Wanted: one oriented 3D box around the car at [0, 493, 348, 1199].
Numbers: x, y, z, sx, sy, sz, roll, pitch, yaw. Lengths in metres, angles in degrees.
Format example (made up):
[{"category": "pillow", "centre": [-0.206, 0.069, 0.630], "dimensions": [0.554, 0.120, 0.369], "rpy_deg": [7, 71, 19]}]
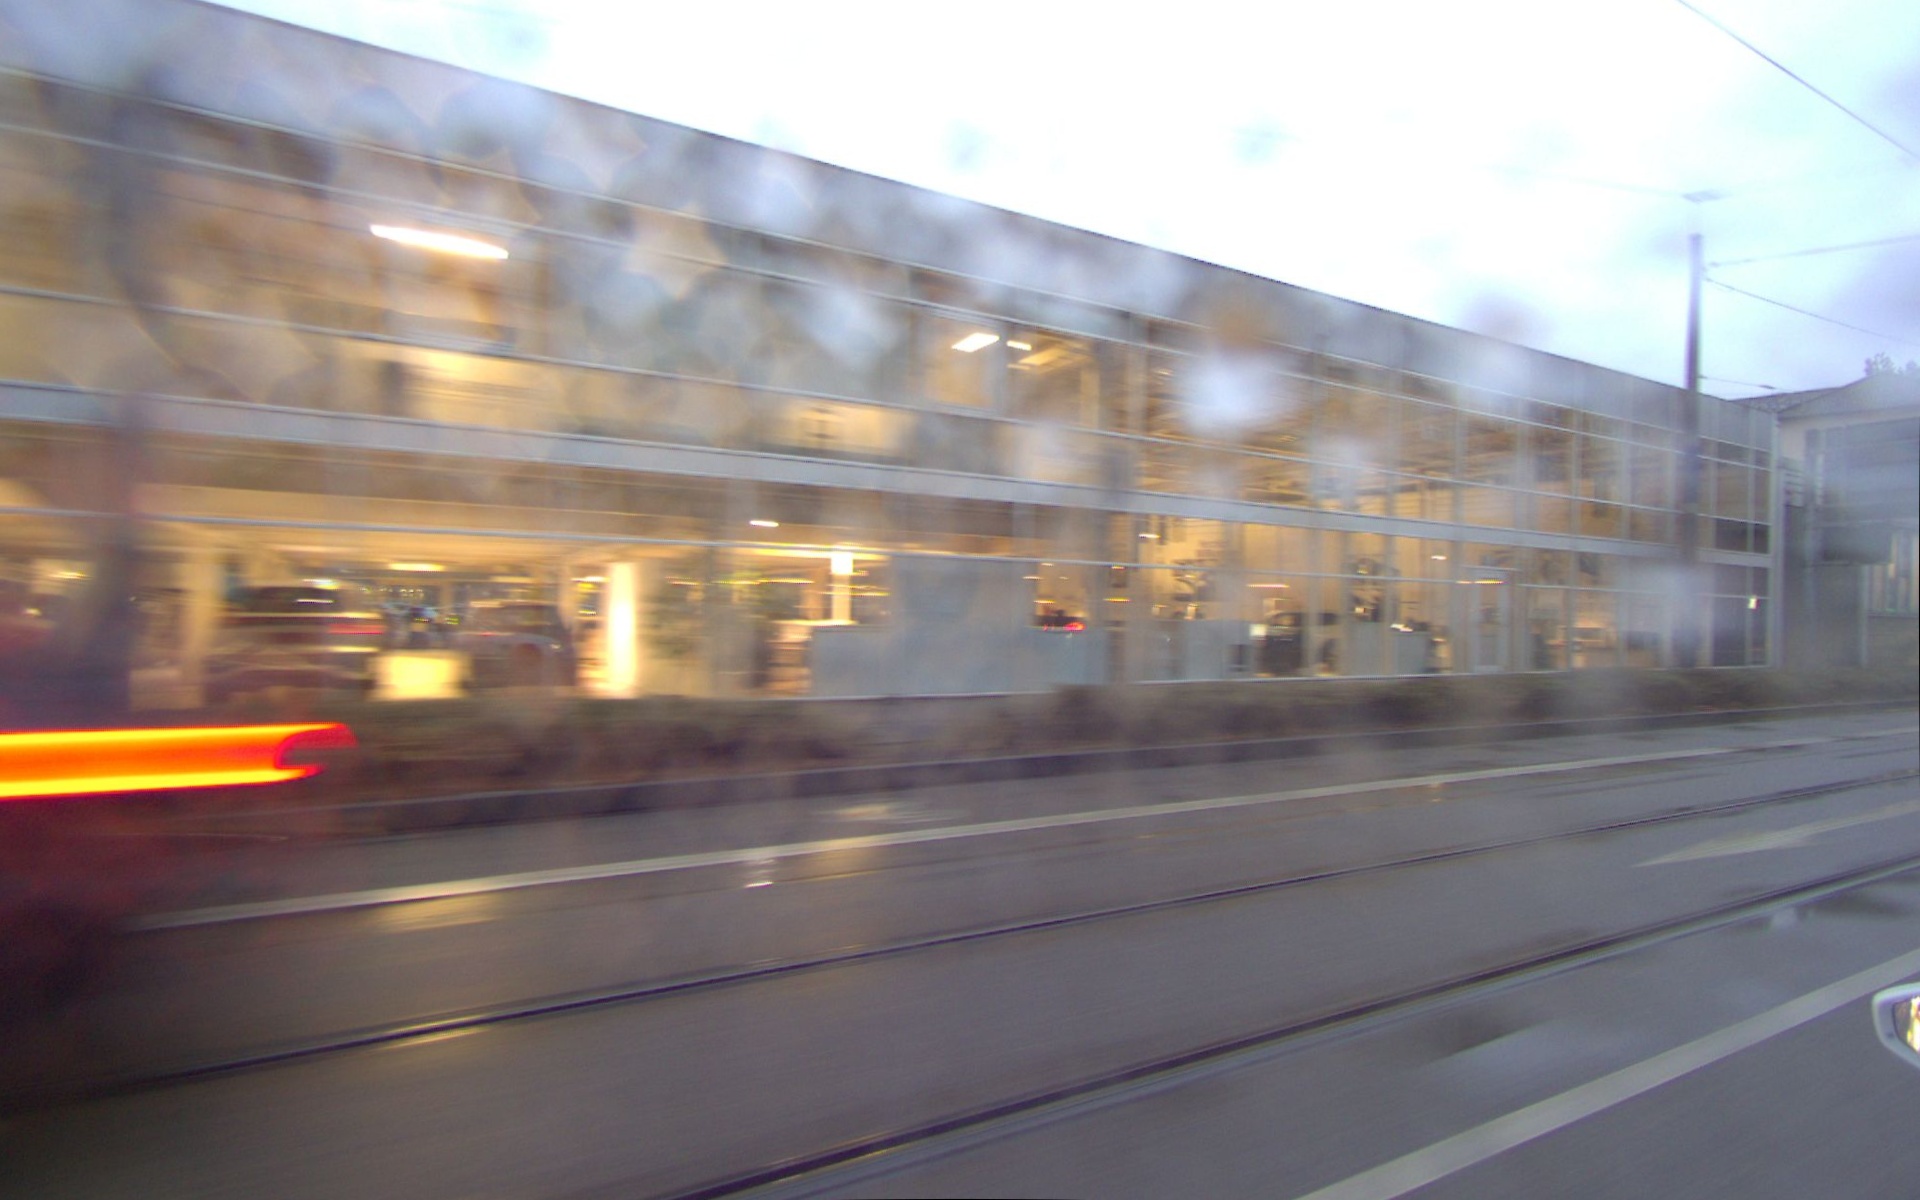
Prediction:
[{"category": "car", "centre": [-3.967, 0.542, 2.158], "dimensions": [4.387, 1.599, 1.834], "rpy_deg": [1, -1, -29]}]
